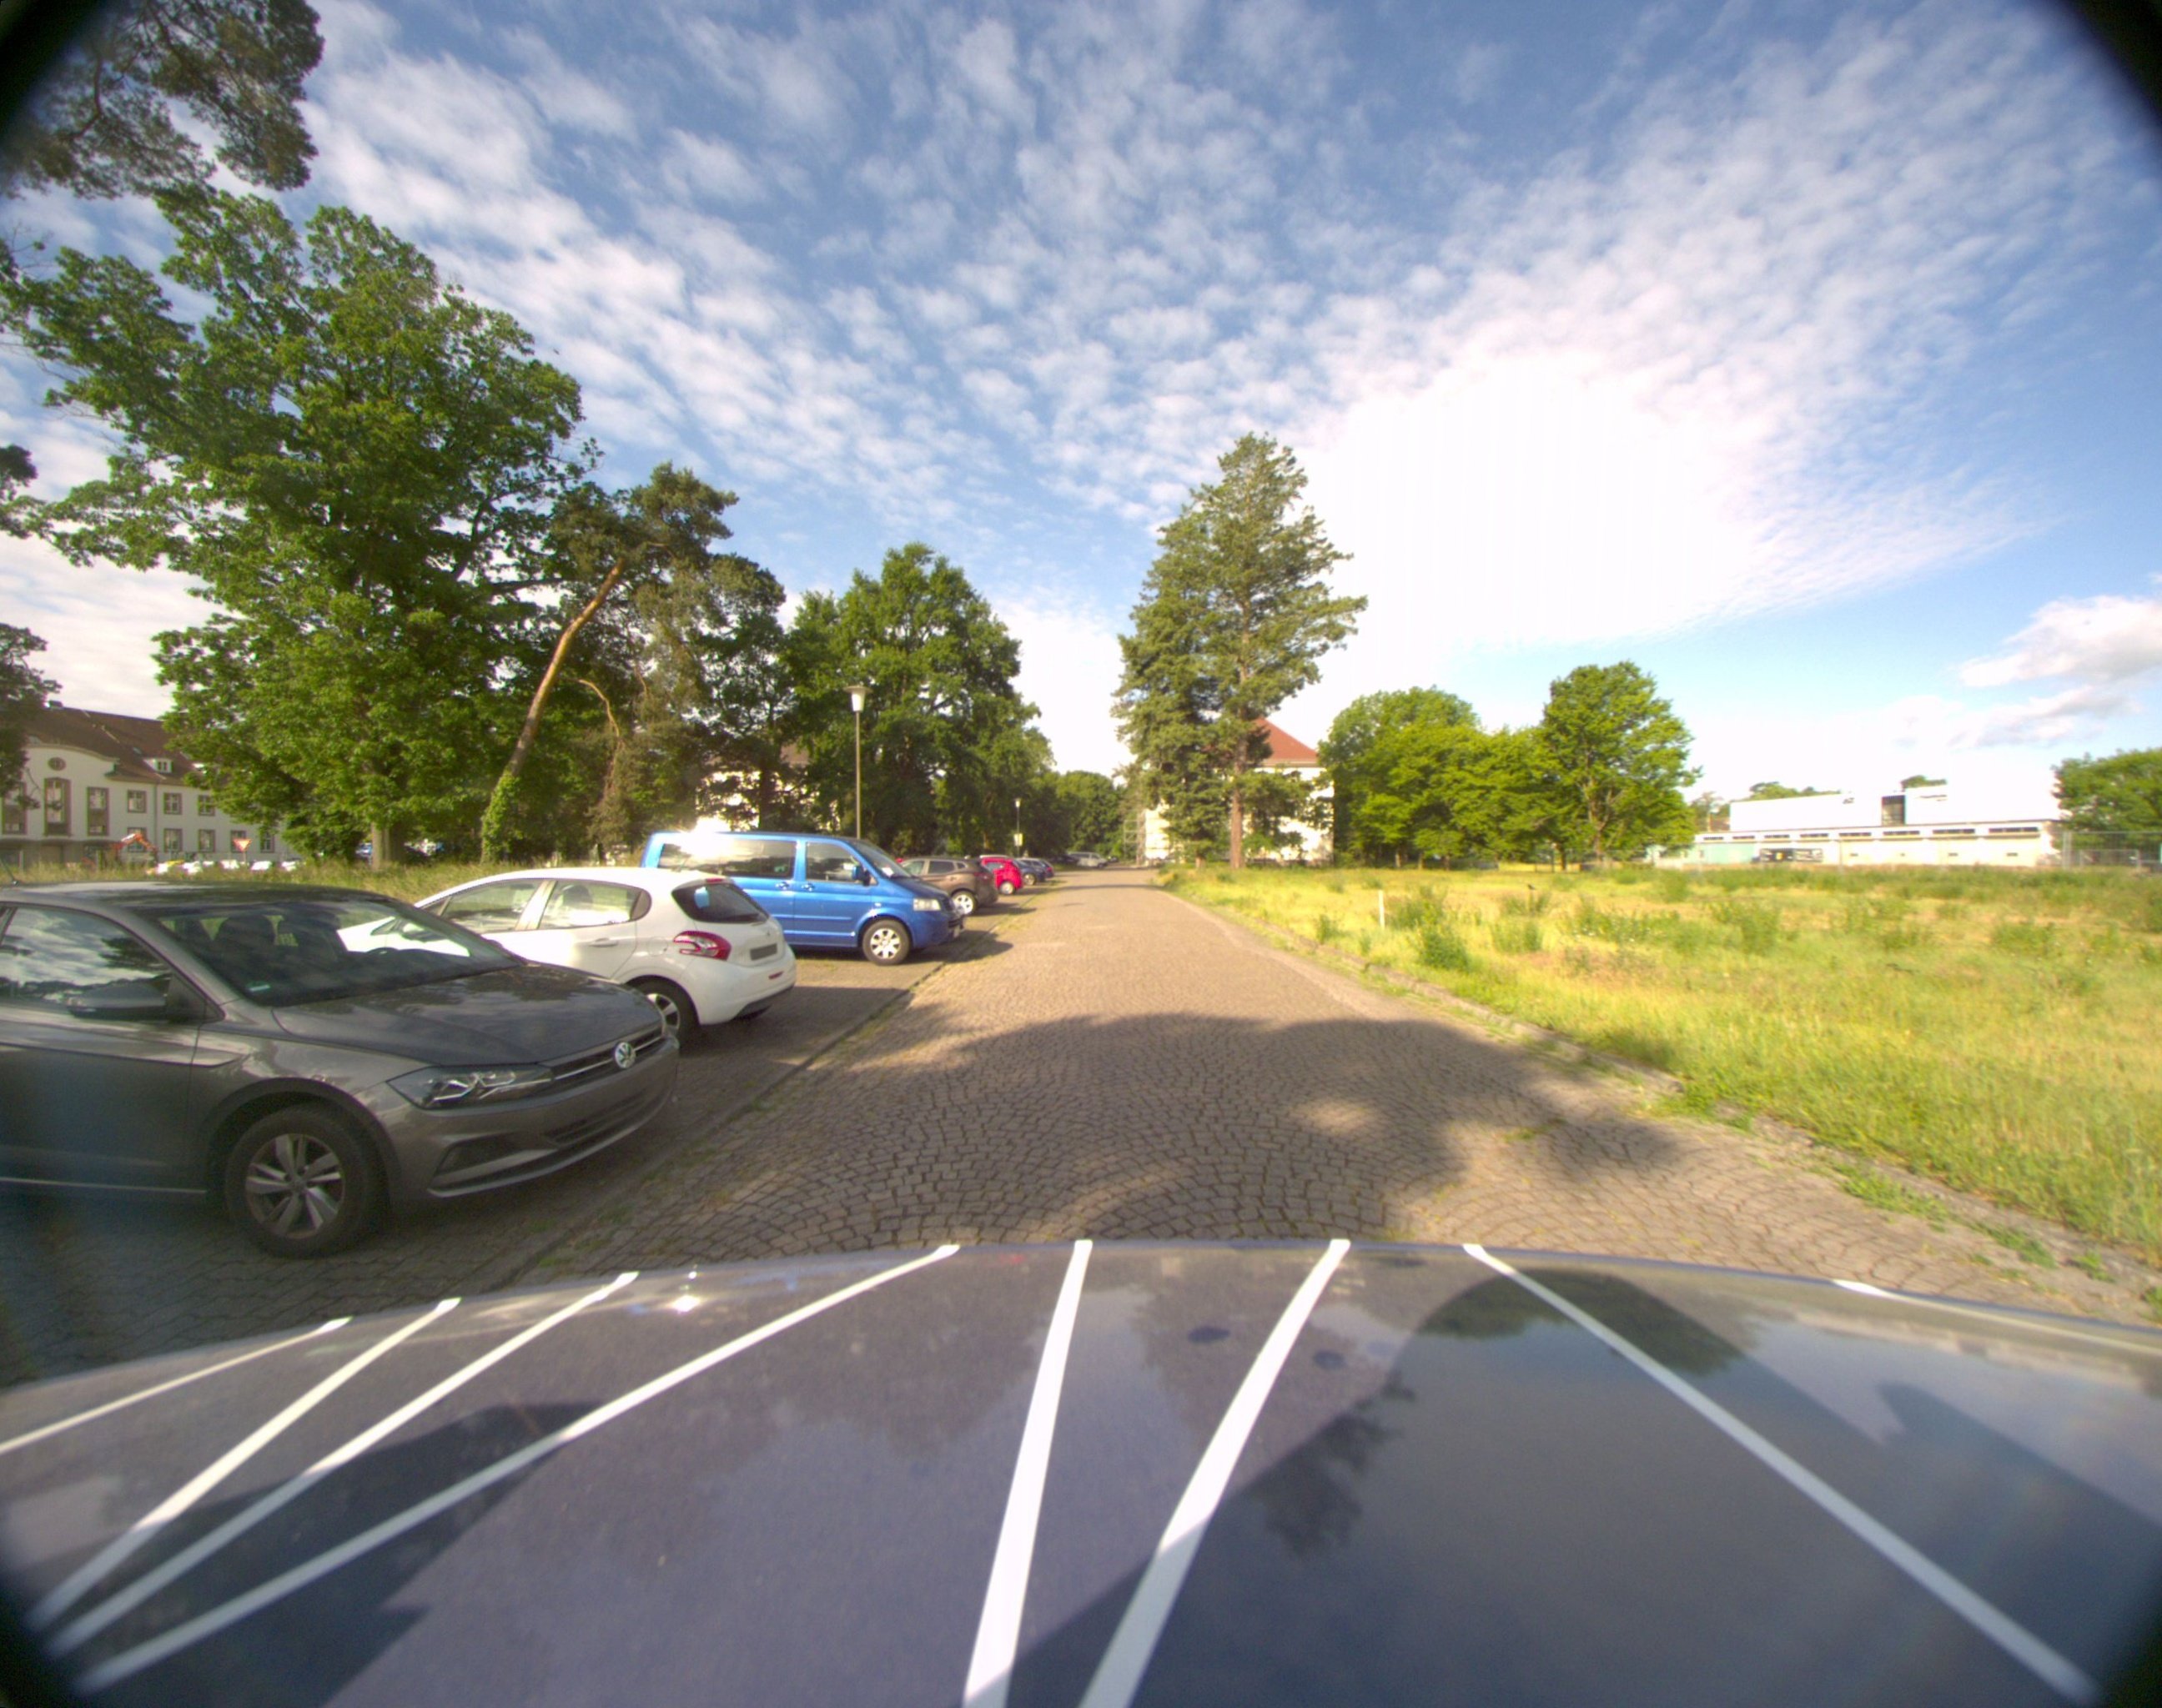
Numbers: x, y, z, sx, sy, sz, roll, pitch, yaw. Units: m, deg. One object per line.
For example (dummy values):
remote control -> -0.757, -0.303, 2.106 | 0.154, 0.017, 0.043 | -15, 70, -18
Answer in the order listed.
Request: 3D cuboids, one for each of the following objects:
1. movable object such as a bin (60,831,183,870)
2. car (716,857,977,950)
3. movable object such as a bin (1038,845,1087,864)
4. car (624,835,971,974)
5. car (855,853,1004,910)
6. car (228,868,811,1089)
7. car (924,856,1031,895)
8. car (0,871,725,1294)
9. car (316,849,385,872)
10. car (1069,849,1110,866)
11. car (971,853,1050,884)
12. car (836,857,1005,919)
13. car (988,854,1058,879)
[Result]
movable object such as a bin -> -87.963, -0.332, 69.844 | 6.460, 3.282, 2.859 | -3, 1, -42
car -> -4.364, 0.897, 14.660 | 4.408, 1.568, 1.939 | 1, 1, 1
movable object such as a bin -> -1.997, 0.087, 81.946 | 4.865, 2.002, 2.002 | -1, 0, 14
car -> -4.271, 0.731, 12.038 | 4.710, 1.924, 2.000 | 1, 1, 1
car -> -4.596, 0.829, 23.596 | 4.237, 1.588, 1.934 | 1, 1, -2
car -> -4.524, 0.942, 6.550 | 3.716, 1.525, 1.761 | 1, 0, 2
car -> -4.197, 0.858, 31.294 | 4.097, 1.451, 1.853 | 1, 0, 0
car -> -4.079, 0.863, 3.775 | 3.716, 1.440, 1.856 | 1, 0, 2
car -> -66.847, 0.566, 69.634 | 1.906, 1.928, 4.395 | -2, 1, 2
car -> 1.014, 0.389, 94.895 | 4.933, 2.002, 1.999 | 1, 1, -5
car -> -3.811, 0.778, 41.505 | 4.097, 1.548, 1.853 | 1, 0, 0
car -> -4.297, 0.897, 20.885 | 4.237, 1.589, 1.934 | 0, 1, -2
car -> -3.501, 0.767, 46.188 | 4.097, 1.415, 1.784 | 1, 0, 0
